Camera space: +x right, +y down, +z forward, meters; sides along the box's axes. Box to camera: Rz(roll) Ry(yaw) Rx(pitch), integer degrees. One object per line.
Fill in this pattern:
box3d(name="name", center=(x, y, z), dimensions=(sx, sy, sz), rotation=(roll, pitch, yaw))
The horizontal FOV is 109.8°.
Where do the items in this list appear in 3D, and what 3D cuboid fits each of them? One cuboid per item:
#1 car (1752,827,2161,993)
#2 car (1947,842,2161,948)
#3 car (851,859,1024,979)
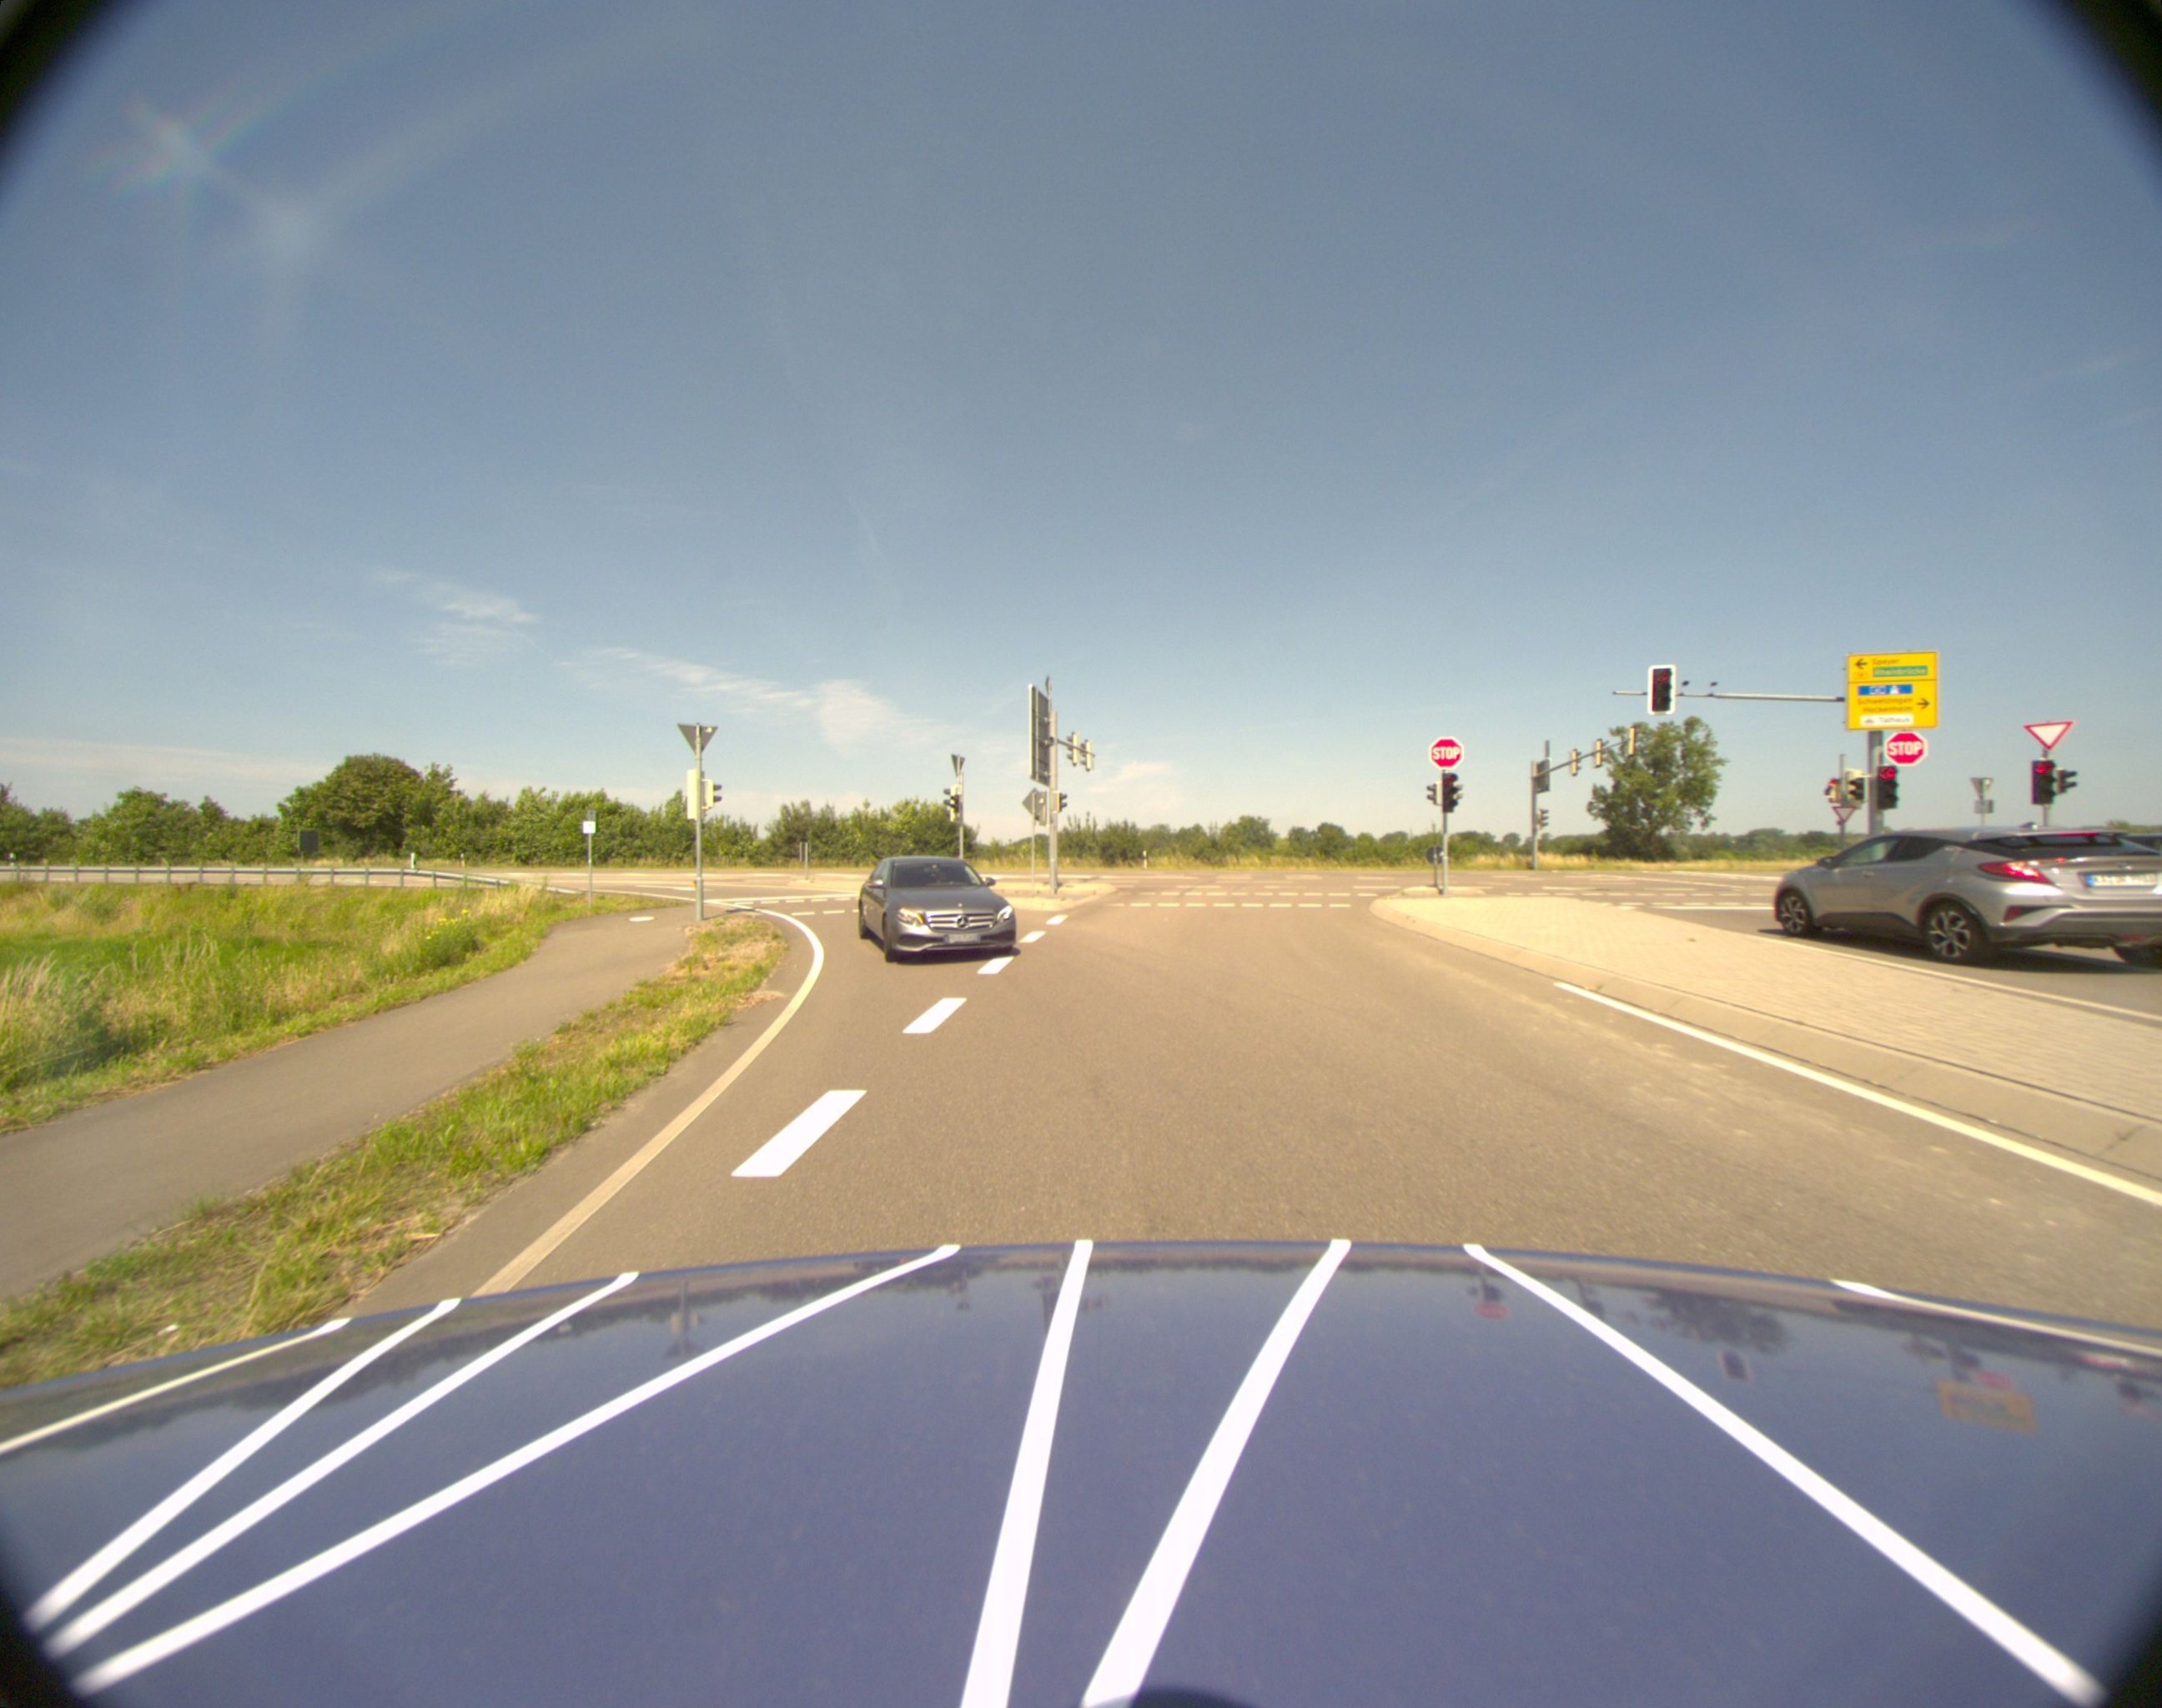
box3d(name="car", center=(10.622, 0.496, 9.234), dimensions=(1.868, 1.535, 4.556), rotation=(-1, 0, 15))
box3d(name="car", center=(15.140, 0.517, 10.765), dimensions=(1.772, 1.360, 4.280), rotation=(-1, -1, 17))
box3d(name="car", center=(-2.543, 0.869, 12.423), dimensions=(1.897, 1.439, 4.517), rotation=(-2, 2, -22))
